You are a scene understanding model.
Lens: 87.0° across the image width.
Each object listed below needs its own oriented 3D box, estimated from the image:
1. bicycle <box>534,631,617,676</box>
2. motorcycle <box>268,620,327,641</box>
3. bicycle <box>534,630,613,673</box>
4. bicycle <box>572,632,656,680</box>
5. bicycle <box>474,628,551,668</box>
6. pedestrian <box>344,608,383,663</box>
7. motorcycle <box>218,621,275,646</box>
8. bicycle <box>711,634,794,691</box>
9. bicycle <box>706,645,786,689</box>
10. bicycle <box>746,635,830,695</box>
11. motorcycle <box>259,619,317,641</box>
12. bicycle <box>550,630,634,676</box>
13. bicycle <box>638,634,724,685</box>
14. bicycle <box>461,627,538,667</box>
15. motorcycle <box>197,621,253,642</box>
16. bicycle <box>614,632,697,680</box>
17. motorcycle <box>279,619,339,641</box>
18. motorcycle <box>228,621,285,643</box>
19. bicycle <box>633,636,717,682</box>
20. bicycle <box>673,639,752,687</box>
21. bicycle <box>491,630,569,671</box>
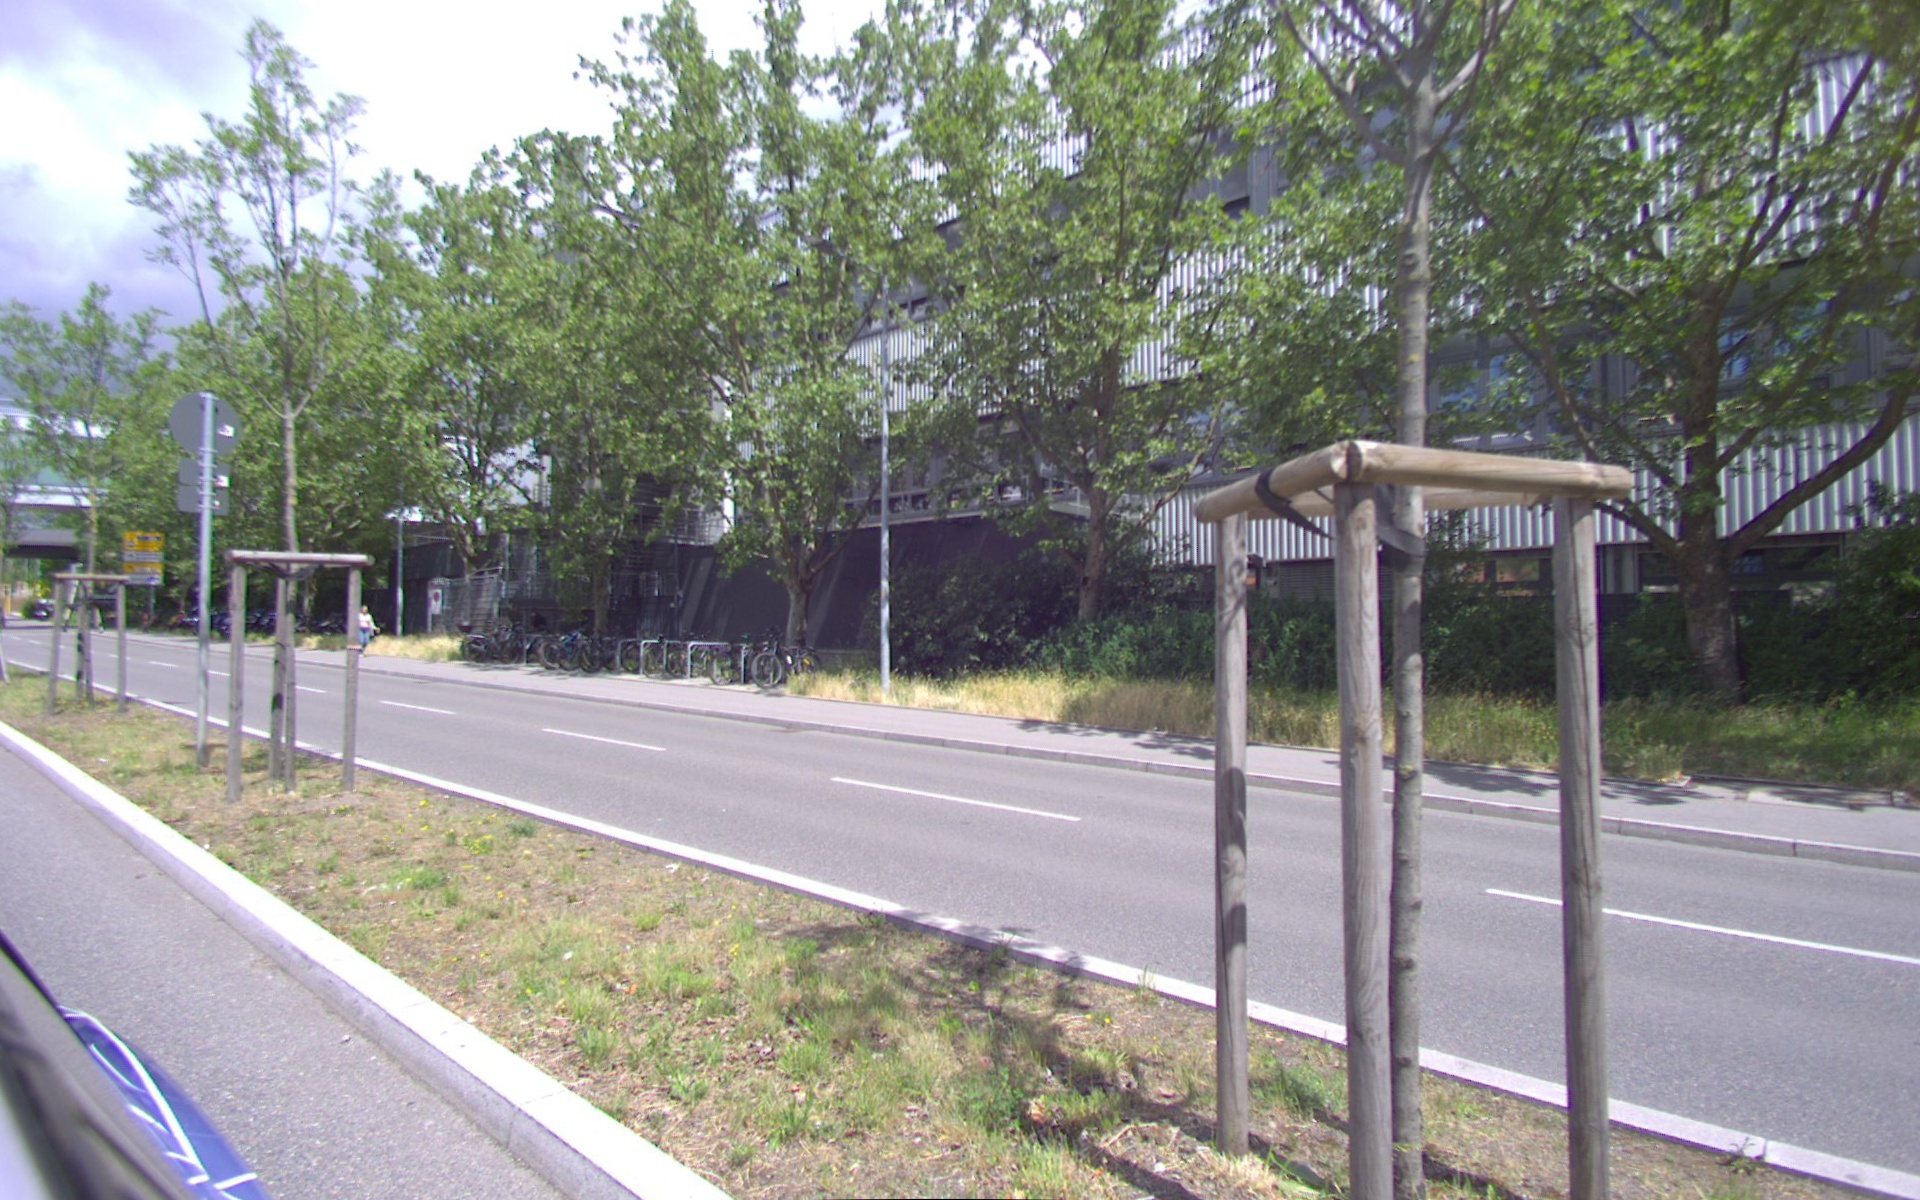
[{"bbox_3d":[-10.222,1.405,26.970,0.382,1.119,2.101,-1,-1,43],"label":"bicycle"},{"bbox_3d":[-29.484,1.334,45.067,0.534,0.892,2.105,-1,-1,41],"label":"motorcycle"},{"bbox_3d":[-10.713,1.406,28.119,0.382,1.119,2.101,-1,-1,43],"label":"bicycle"},{"bbox_3d":[-8.774,1.403,25.723,0.382,1.119,2.101,-1,-1,43],"label":"bicycle"},{"bbox_3d":[-13.139,1.402,29.792,0.382,1.119,2.101,-1,-1,43],"label":"bicycle"},{"bbox_3d":[-19.152,1.119,32.483,0.672,1.733,0.888,-1,-2,41],"label":"pedestrian"},{"bbox_3d":[-33.531,1.552,47.588,0.534,1.146,2.105,-1,-1,41],"label":"motorcycle"},{"bbox_3d":[-4.448,1.315,21.828,0.381,1.137,1.968,-1,-1,39],"label":"bicycle"},{"bbox_3d":[-4.828,1.491,22.930,0.381,0.897,1.968,-1,-1,39],"label":"bicycle"},{"bbox_3d":[-3.569,1.330,21.106,0.381,1.137,1.968,-1,-1,39],"label":"bicycle"},{"bbox_3d":[-30.430,1.339,45.840,0.534,0.976,2.105,-1,-1,41],"label":"motorcycle"},{"bbox_3d":[-9.565,1.369,26.374,0.382,1.119,2.101,-1,-1,43],"label":"bicycle"},{"bbox_3d":[-6.570,1.386,23.935,0.382,1.104,2.101,-1,-1,43],"label":"bicycle"},{"bbox_3d":[-13.780,1.387,30.336,0.382,1.119,2.101,-1,-1,43],"label":"bicycle"},{"bbox_3d":[-35.171,1.501,48.437,0.534,0.976,2.105,-1,-1,41],"label":"motorcycle"},{"bbox_3d":[-7.643,1.390,25.458,0.382,1.119,2.101,-1,-1,43],"label":"bicycle"},{"bbox_3d":[-28.116,1.290,43.716,0.534,0.905,2.105,-1,-1,41],"label":"motorcycle"},{"bbox_3d":[-32.601,1.488,46.929,0.534,0.976,2.105,-1,-1,41],"label":"motorcycle"},{"bbox_3d":[-6.975,1.422,24.844,0.382,1.038,2.101,-1,-1,43],"label":"bicycle"},{"bbox_3d":[-5.700,1.437,23.415,0.381,1.005,1.968,-1,-1,39],"label":"bicycle"},{"bbox_3d":[-12.394,1.442,29.243,0.382,1.119,2.101,-1,-1,43],"label":"bicycle"}]
